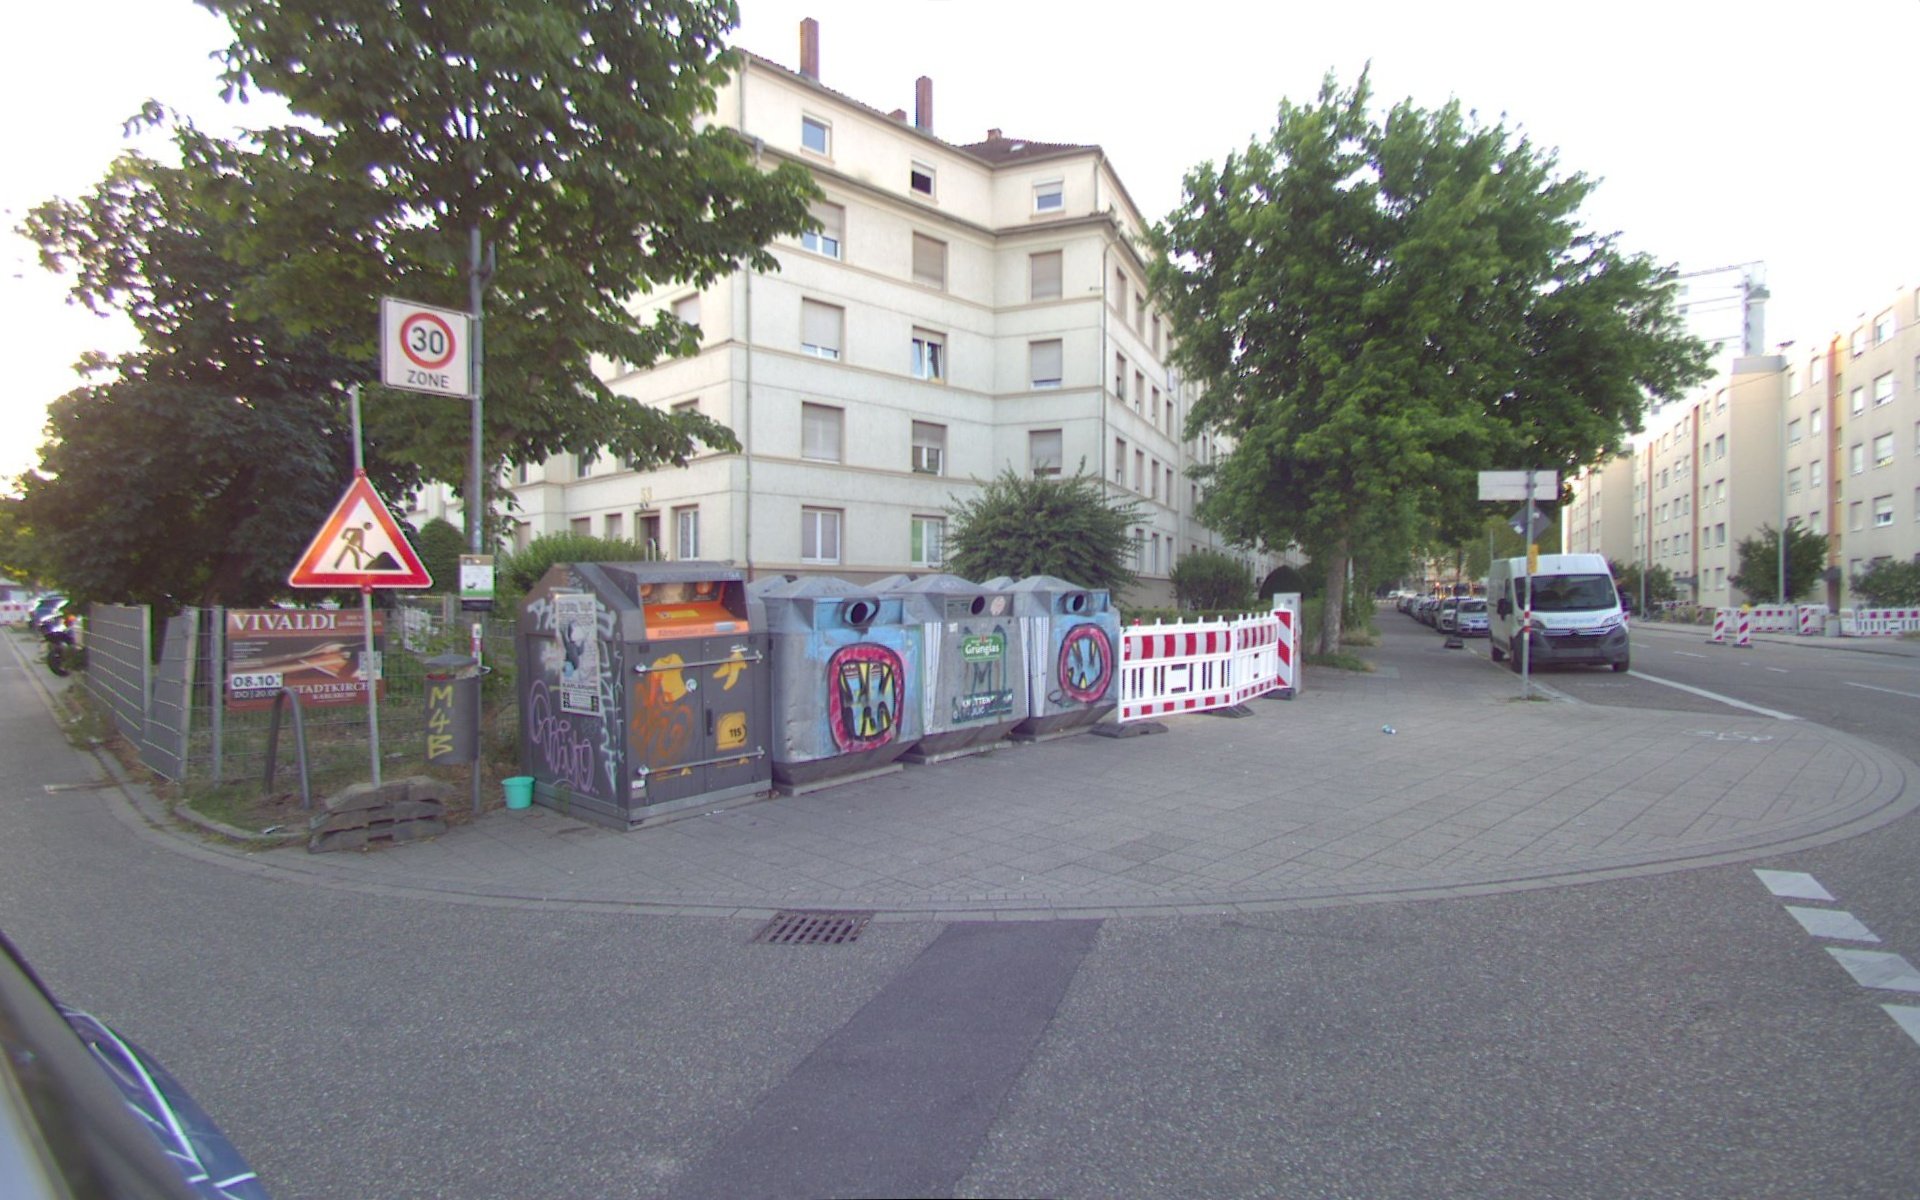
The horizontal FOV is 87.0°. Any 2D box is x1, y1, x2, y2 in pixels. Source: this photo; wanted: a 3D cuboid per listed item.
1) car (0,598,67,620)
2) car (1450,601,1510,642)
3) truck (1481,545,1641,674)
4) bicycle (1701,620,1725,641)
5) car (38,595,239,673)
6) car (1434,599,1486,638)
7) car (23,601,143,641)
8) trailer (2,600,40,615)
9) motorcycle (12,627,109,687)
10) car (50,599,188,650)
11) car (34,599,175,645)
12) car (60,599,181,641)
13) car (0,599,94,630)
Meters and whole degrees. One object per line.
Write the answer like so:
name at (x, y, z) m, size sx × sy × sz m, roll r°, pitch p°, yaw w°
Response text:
car at (-90.121, 0.885, 98.514) m, size 4.715 × 2.085 × 2.003 m, roll 0°, pitch 0°, yaw -40°
car at (20.462, 0.819, 39.980) m, size 1.751 × 1.494 × 3.897 m, roll -3°, pitch -1°, yaw 23°
truck at (13.055, 0.212, 22.403) m, size 2.094 × 2.441 × 6.000 m, roll -2°, pitch -1°, yaw 22°
bicycle at (43.008, 1.734, 57.831) m, size 0.615 × 1.115 × 2.216 m, roll 0°, pitch 0°, yaw 25°
car at (-19.884, 0.751, 24.578) m, size 1.694 × 1.568 × 3.583 m, roll 0°, pitch 3°, yaw 45°
car at (22.284, 0.804, 45.207) m, size 1.751 × 1.616 × 3.897 m, roll -3°, pitch -1°, yaw 23°
car at (-36.119, 0.823, 41.738) m, size 3.633 × 1.456 × 1.730 m, roll -2°, pitch 2°, yaw -43°
trailer at (-133.395, 1.032, 143.782) m, size 3.626 × 2.084 × 2.006 m, roll -1°, pitch 0°, yaw -31°
motorcycle at (-18.425, 1.140, 20.796) m, size 0.530 × 1.028 × 2.218 m, roll -3°, pitch 2°, yaw -16°
car at (-29.074, 0.793, 35.050) m, size 1.727 × 1.578 × 3.439 m, roll 1°, pitch 2°, yaw 40°
car at (-31.845, 0.783, 37.720) m, size 3.930 × 1.500 × 1.730 m, roll -2°, pitch 2°, yaw -43°
car at (-33.536, 0.765, 40.452) m, size 3.633 × 1.495 × 1.730 m, roll -2°, pitch 2°, yaw -43°
car at (-49.876, 0.763, 55.302) m, size 1.728 × 1.495 × 3.659 m, roll -1°, pitch 1°, yaw 43°
